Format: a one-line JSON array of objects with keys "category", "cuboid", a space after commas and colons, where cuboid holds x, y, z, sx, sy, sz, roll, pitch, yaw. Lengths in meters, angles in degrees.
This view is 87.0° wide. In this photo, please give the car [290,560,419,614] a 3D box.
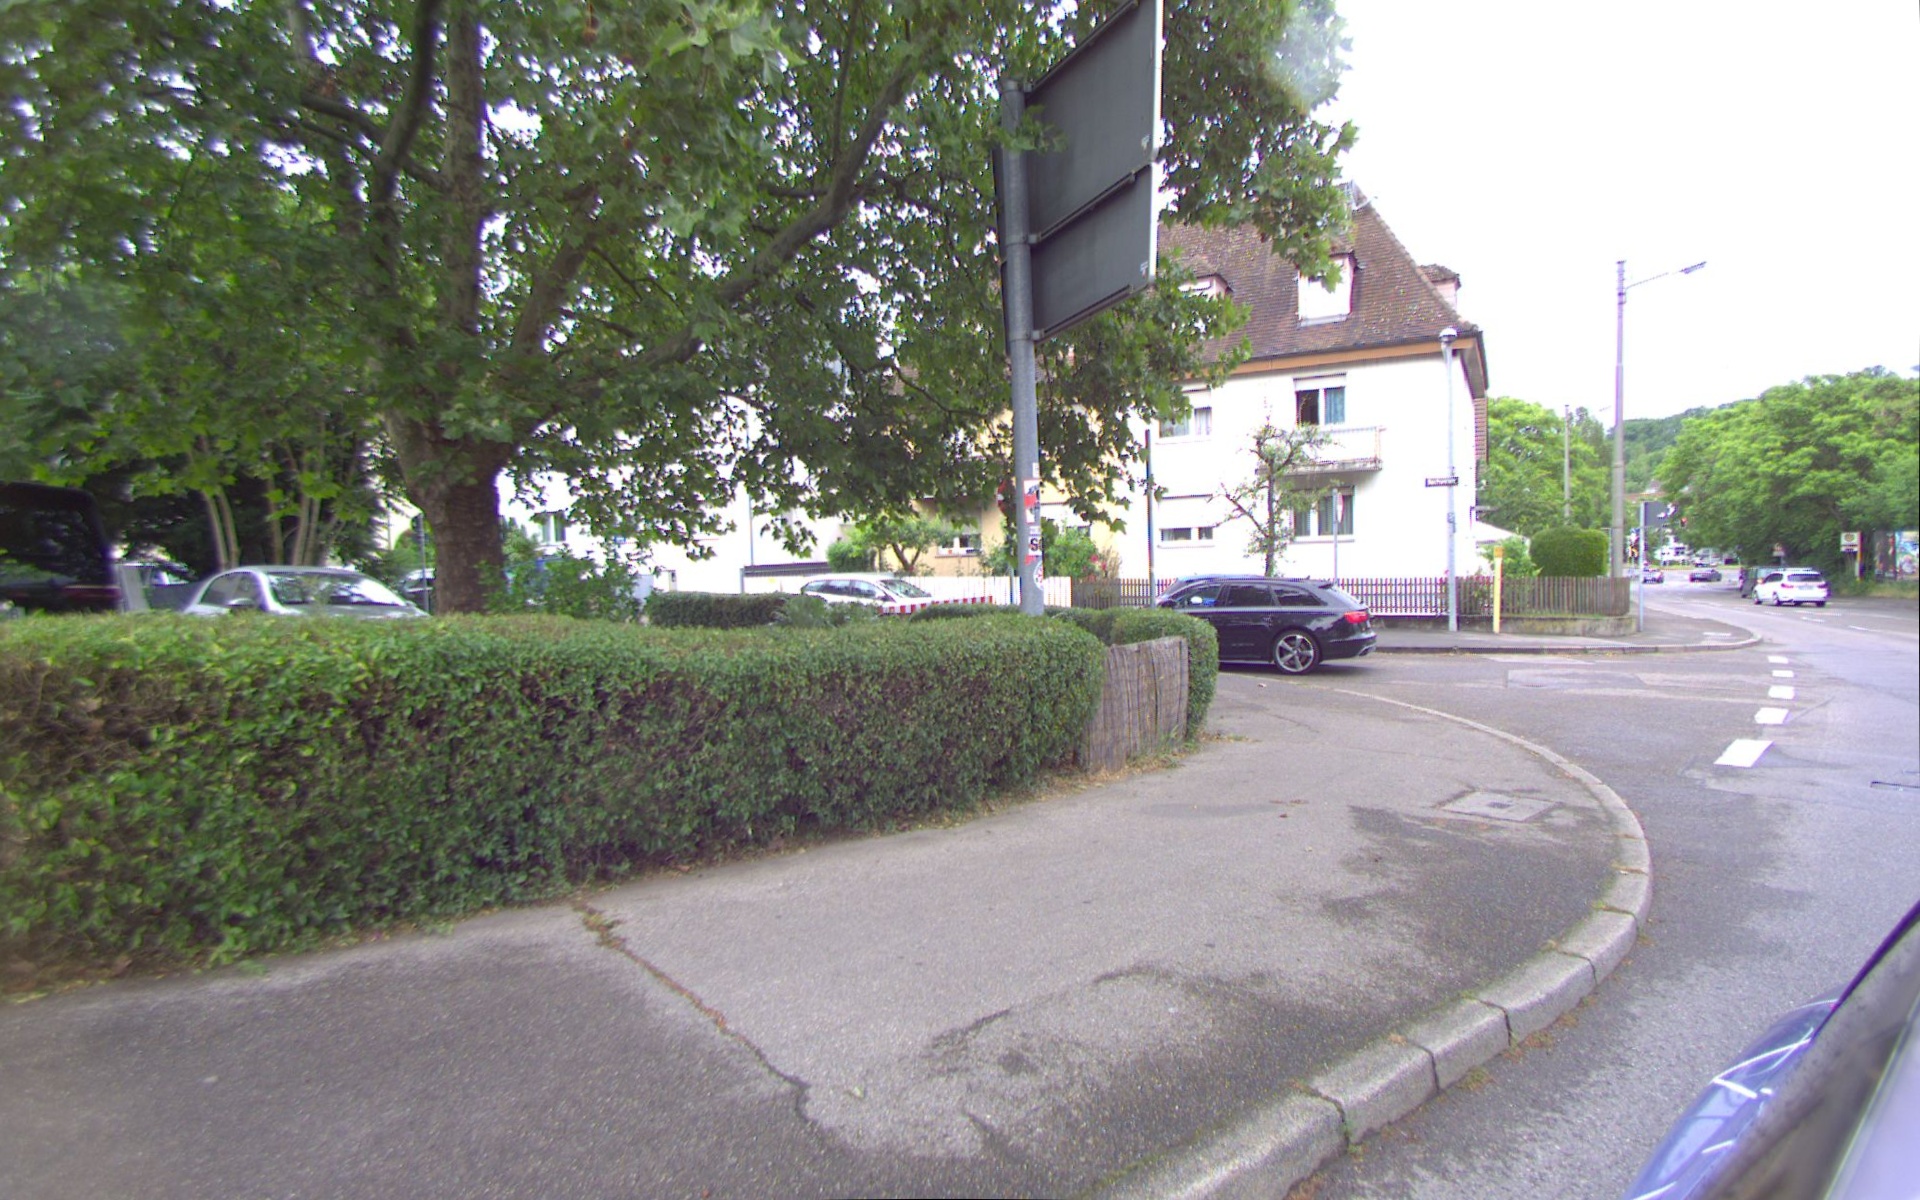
[{"category": "car", "cuboid": [-22.093, -0.497, 36.889, 4.535, 1.862, 1.982, 1, 2, 28]}]

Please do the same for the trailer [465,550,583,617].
[{"category": "trailer", "cuboid": [-13.943, -0.544, 32.365, 3.456, 2.038, 1.657, 1, 1, 26]}]

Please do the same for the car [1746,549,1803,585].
[{"category": "car", "cuboid": [46.376, -1.859, 57.743, 1.949, 1.955, 4.631, 1, 2, 32]}]

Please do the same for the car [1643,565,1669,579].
[{"category": "car", "cuboid": [73.063, -2.944, 106.230, 1.892, 1.479, 3.944, 1, 2, 39]}]

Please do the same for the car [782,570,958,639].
[{"category": "car", "cuboid": [-2.100, 0.065, 23.393, 3.752, 1.471, 1.754, 1, 1, 30]}]

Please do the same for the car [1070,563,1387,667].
[{"category": "car", "cuboid": [4.353, 0.155, 16.538, 4.768, 1.498, 1.870, 1, 2, 25]}]

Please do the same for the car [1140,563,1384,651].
[{"category": "car", "cuboid": [5.668, 0.060, 19.142, 4.095, 1.498, 1.865, 1, 2, 32]}]

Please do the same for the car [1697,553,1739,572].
[{"category": "car", "cuboid": [81.580, -4.037, 108.867, 4.687, 1.460, 2.001, -8, 3, -32]}]

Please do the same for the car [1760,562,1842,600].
[{"category": "car", "cuboid": [38.297, -0.830, 46.194, 1.818, 1.598, 4.296, 1, 0, 25]}]

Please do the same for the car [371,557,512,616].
[{"category": "car", "cuboid": [-17.524, -0.485, 34.173, 4.535, 1.862, 1.982, 1, 2, 28]}]

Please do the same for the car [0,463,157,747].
[{"category": "car", "cuboid": [-8.557, 0.007, 7.976, 4.376, 1.956, 1.980, 1, 2, 29]}]

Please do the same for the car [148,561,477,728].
[{"category": "car", "cuboid": [-7.466, 0.369, 11.572, 3.974, 1.599, 1.800, 1, 2, 35]}]
